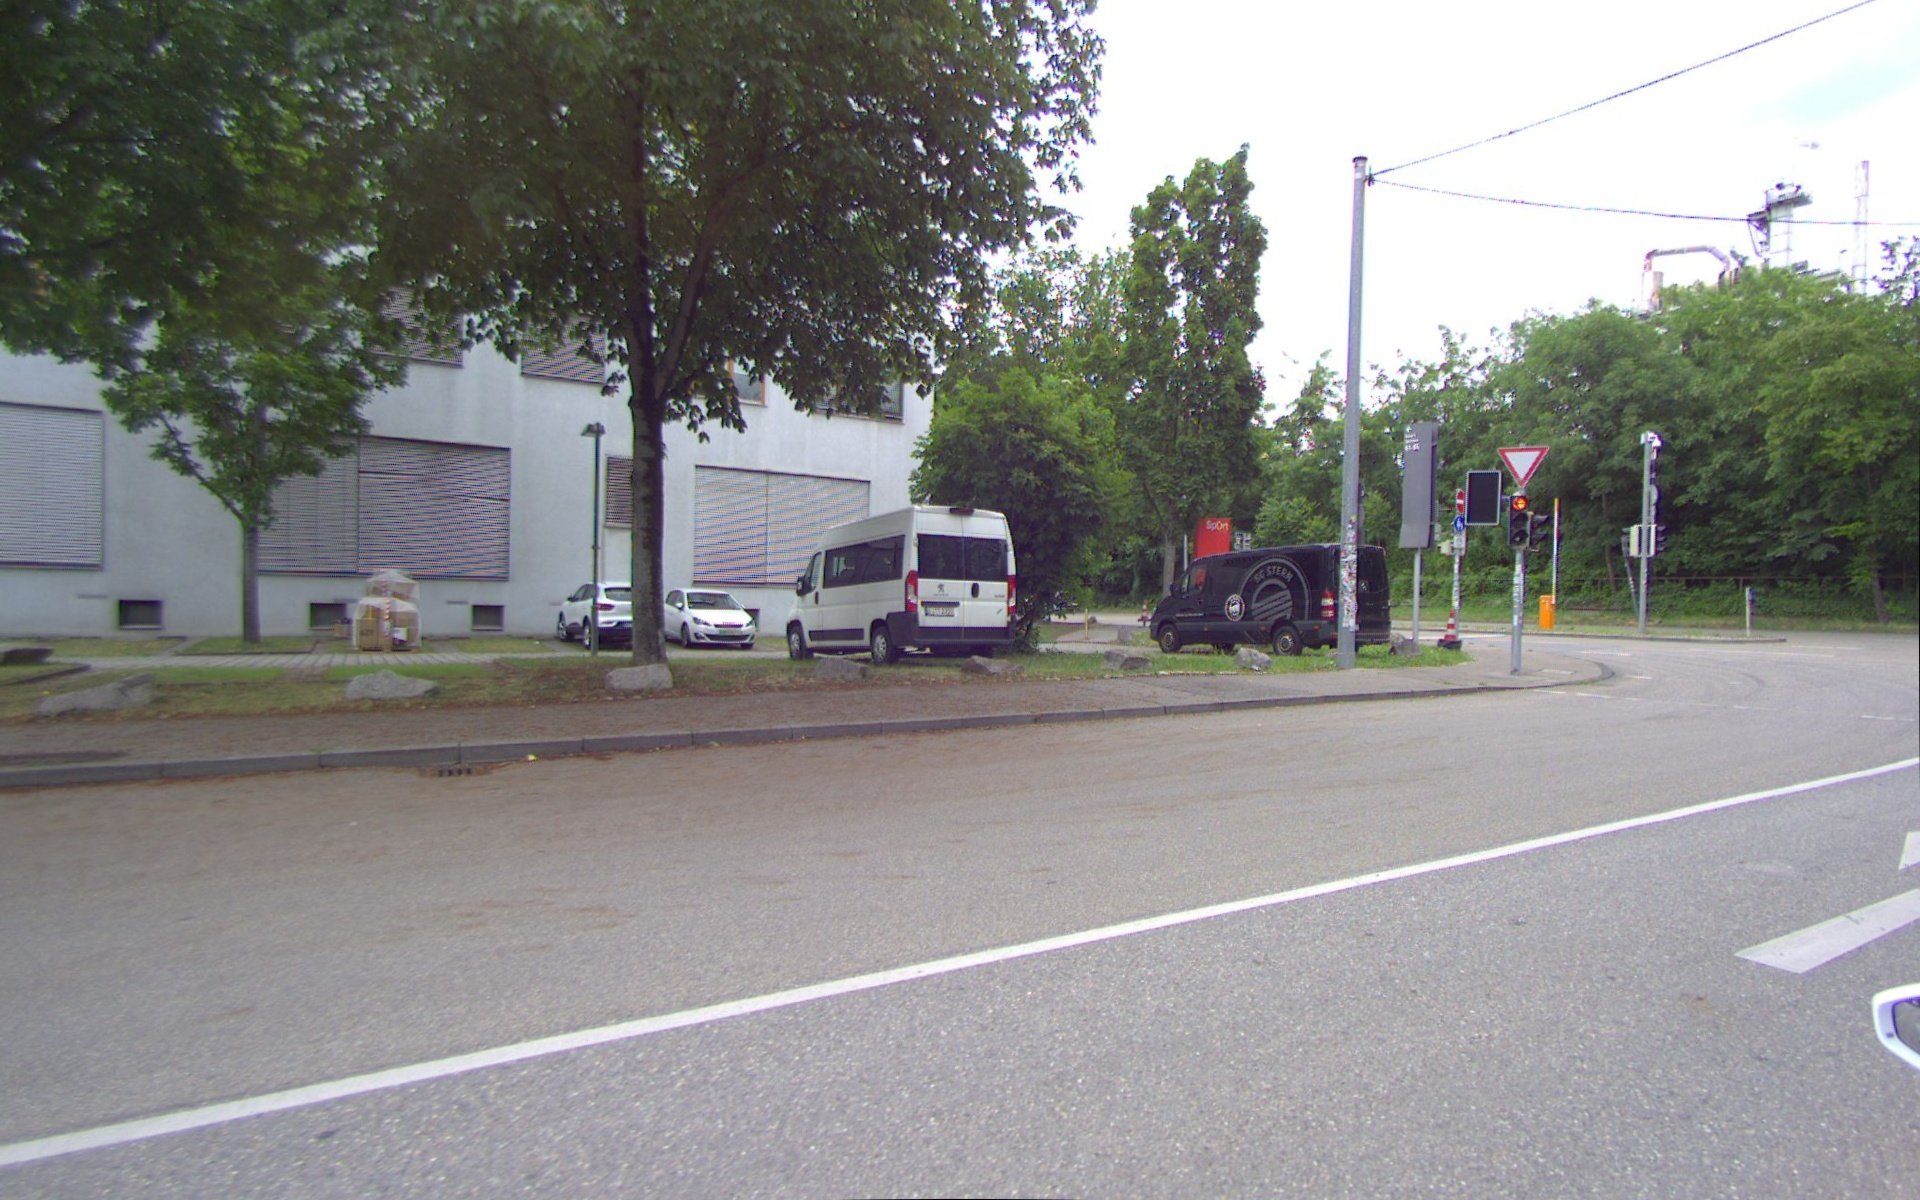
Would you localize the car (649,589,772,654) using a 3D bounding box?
[{"bbox_3d":[-6.689,0.533,26.656,1.881,1.475,3.972,3,0,-34],"label":"car"}]

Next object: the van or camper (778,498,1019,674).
[{"bbox_3d":[-1.264,-0.234,17.546,2.039,2.604,4.943,2,0,-32],"label":"van or camper"}]

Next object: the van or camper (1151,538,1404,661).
[{"bbox_3d":[6.821,0.091,22.330,2.036,2.344,5.513,2,-3,-28],"label":"van or camper"}]

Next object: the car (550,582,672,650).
[{"bbox_3d":[-8.768,0.356,25.044,1.881,1.475,3.972,3,0,-34],"label":"car"}]

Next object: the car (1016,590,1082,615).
[{"bbox_3d":[5.939,0.133,67.416,1.881,1.475,4.644,3,0,-34],"label":"car"}]
